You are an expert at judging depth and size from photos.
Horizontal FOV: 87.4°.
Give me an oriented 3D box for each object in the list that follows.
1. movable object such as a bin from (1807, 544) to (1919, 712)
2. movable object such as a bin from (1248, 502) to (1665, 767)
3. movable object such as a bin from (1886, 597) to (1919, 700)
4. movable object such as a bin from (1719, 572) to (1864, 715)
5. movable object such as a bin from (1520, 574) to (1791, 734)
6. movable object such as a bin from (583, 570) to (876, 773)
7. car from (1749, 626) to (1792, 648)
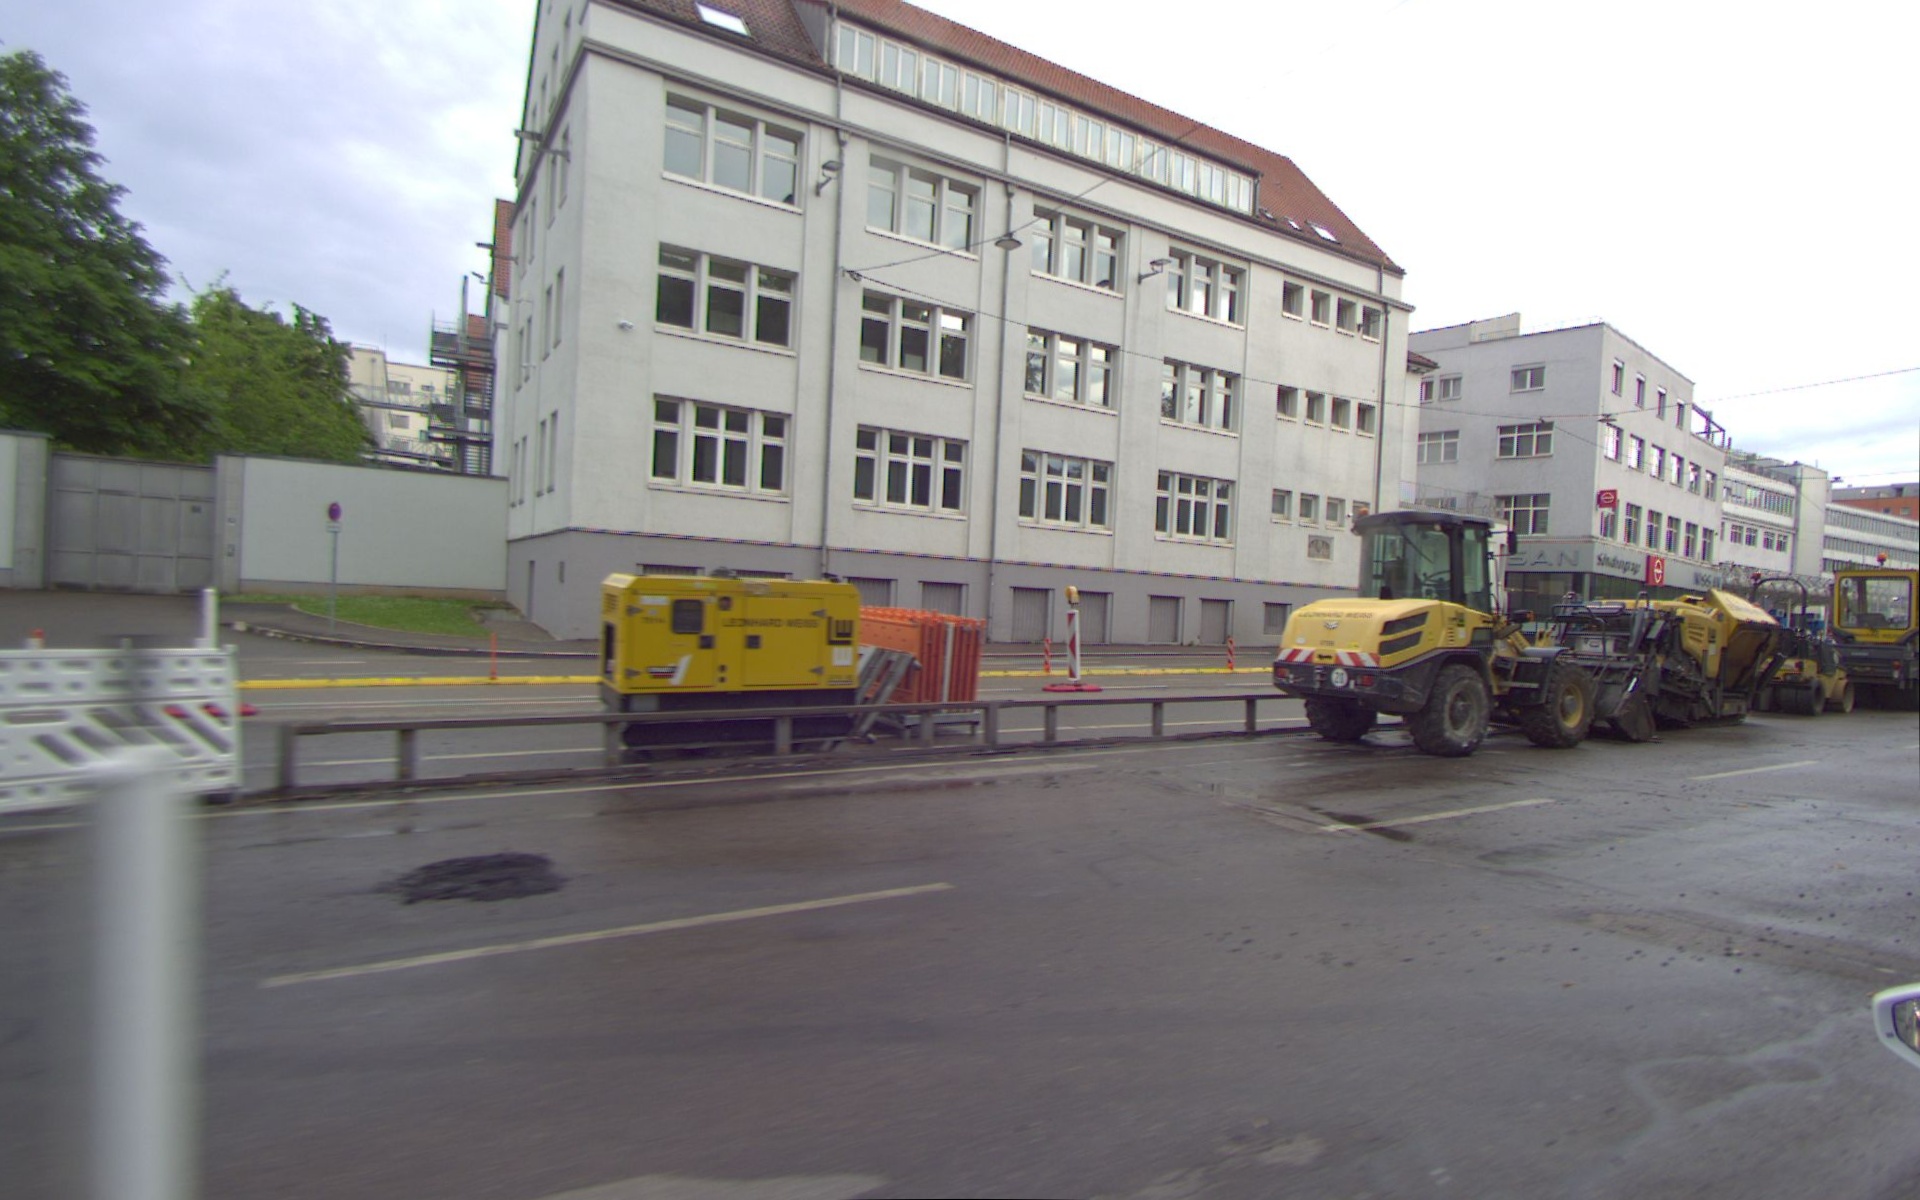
[{"bbox_3d":[18.352,0.565,19.805,3.682,3.048,1.458,2,-1,-32],"label":"movable object such as a bin"},{"bbox_3d":[6.144,0.397,12.217,5.320,2.644,1.893,2,0,-30],"label":"movable object such as a bin"},{"bbox_3d":[21.823,1.064,21.882,3.314,2.178,1.705,2,-1,-34],"label":"movable object such as a bin"},{"bbox_3d":[15.178,0.771,18.325,2.380,2.433,1.402,2,-1,-33],"label":"movable object such as a bin"},{"bbox_3d":[10.553,0.766,15.118,4.971,2.118,1.356,2,0,-30],"label":"movable object such as a bin"},{"bbox_3d":[-2.116,0.607,9.319,2.411,1.666,1.078,2,1,-31],"label":"movable object such as a bin"},{"bbox_3d":[71.276,3.213,88.387,1.771,1.677,3.999,4,1,22],"label":"car"}]
